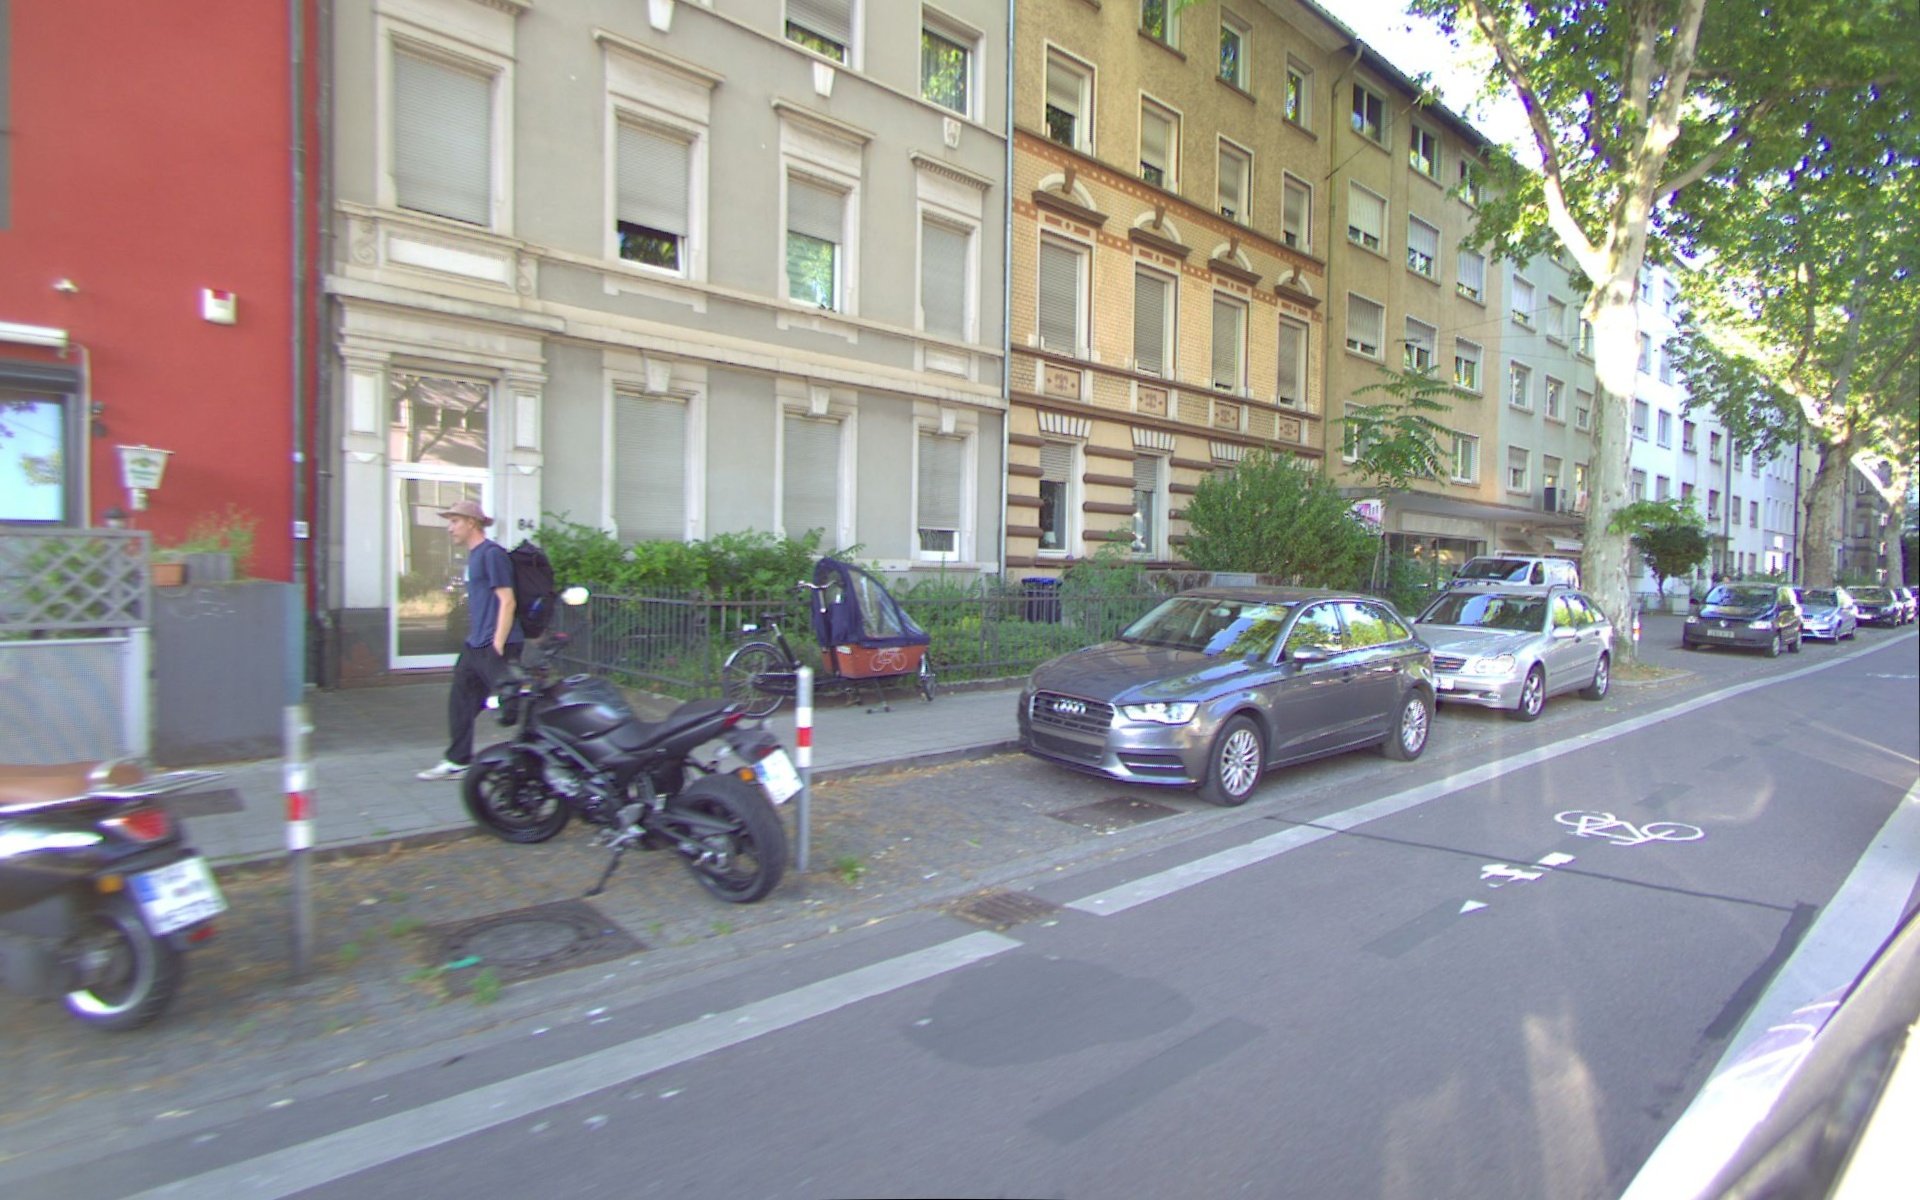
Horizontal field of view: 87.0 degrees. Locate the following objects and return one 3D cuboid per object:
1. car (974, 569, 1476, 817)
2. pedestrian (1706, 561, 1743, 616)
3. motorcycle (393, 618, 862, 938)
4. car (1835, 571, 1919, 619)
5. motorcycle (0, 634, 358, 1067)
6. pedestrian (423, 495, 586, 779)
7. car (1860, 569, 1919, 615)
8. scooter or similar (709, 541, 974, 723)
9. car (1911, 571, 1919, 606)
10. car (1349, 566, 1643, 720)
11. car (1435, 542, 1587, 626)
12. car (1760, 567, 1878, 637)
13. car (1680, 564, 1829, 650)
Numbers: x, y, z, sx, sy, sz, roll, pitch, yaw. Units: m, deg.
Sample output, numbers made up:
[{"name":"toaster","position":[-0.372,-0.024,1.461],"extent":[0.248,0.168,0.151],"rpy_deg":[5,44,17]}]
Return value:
[{"name":"car","position":[2.323,0.509,8.220],"extent":[4.294,1.418,1.802],"rpy_deg":[-1,5,-41]},{"name":"pedestrian","position":[22.660,-0.347,29.986],"extent":[0.690,1.599,0.728],"rpy_deg":[-1,3,-41]},{"name":"motorcycle","position":[-1.608,0.734,4.811],"extent":[2.188,1.124,0.659],"rpy_deg":[4,2,22]},{"name":"car","position":[32.703,-0.214,36.018],"extent":[4.296,1.520,1.801],"rpy_deg":[-1,5,-42]},{"name":"motorcycle","position":[-3.186,0.735,3.432],"extent":[1.858,1.124,0.784],"rpy_deg":[3,2,7]},{"name":"pedestrian","position":[-2.998,0.192,6.661],"extent":[0.802,1.731,0.728],"rpy_deg":[-2,5,-41]},{"name":"car","position":[36.718,-0.347,39.544],"extent":[4.296,1.628,1.801],"rpy_deg":[-1,5,-42]},{"name":"scooter or similar","position":[-1.023,0.231,9.346],"extent":[2.501,1.488,0.666],"rpy_deg":[-1,2,-41]},{"name":"car","position":[48.009,-0.531,49.492],"extent":[4.035,1.628,1.801],"rpy_deg":[-1,5,-42]},{"name":"car","position":[6.701,0.369,12.419],"extent":[4.437,1.472,1.801],"rpy_deg":[-1,5,-43]},{"name":"car","position":[14.097,-0.444,25.800],"extent":[4.598,1.897,1.932],"rpy_deg":[-1,5,-42]},{"name":"car","position":[23.116,-0.011,27.189],"extent":[4.296,1.628,1.801],"rpy_deg":[-1,5,-42]},{"name":"car","position":[17.452,0.073,22.162],"extent":[4.296,1.628,1.801],"rpy_deg":[-1,5,-42]}]
